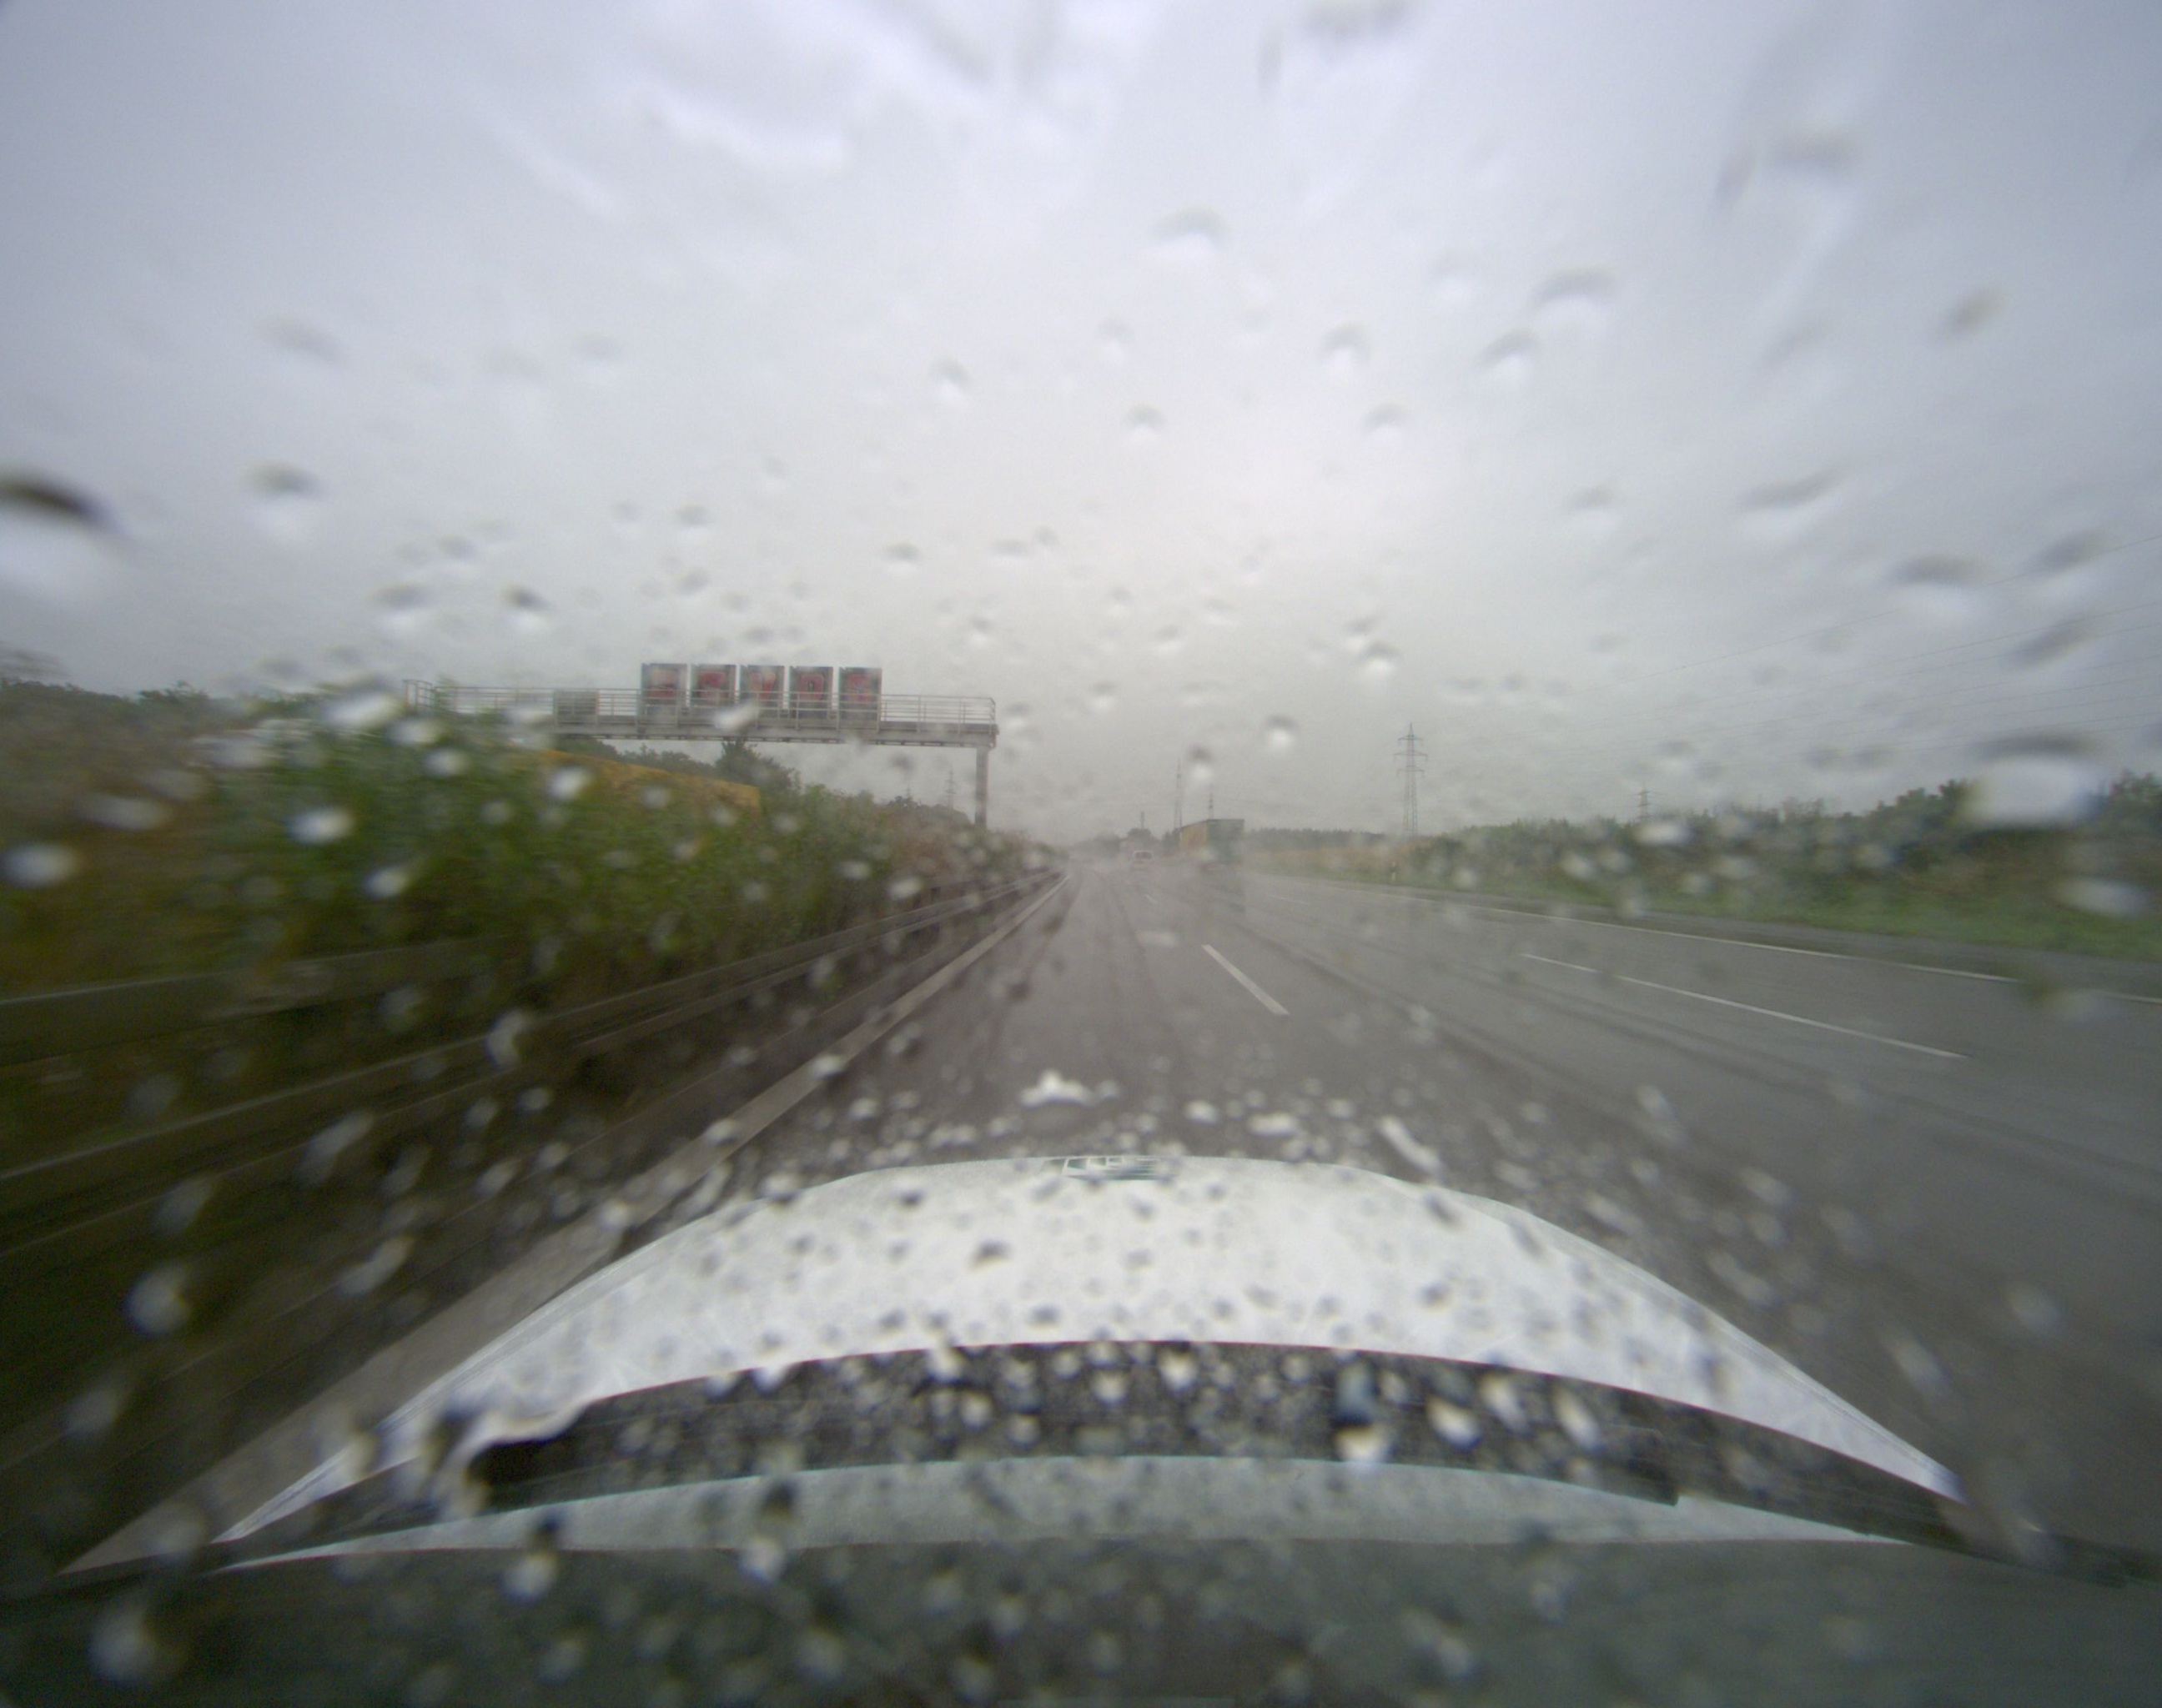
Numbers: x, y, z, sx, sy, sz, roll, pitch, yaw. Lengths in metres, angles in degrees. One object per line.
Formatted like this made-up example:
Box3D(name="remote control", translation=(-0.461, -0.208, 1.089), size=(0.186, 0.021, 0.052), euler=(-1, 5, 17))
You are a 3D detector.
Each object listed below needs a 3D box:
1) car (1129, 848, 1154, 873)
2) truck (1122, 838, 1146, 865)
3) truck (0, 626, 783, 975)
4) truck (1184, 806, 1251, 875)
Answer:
Box3D(name="car", translation=(5.062, 0.496, 67.623), size=(1.984, 2.013, 4.006), euler=(-1, 0, 5))
Box3D(name="truck", translation=(8.450, -0.418, 131.610), size=(3.223, 4.311, 8.834), euler=(-1, 0, -1))
Box3D(name="truck", translation=(-13.933, -0.827, 21.040), size=(4.685, 5.044, 18.246), euler=(-1, 0, 3))
Box3D(name="truck", translation=(10.272, -0.899, 63.310), size=(4.168, 4.630, 16.132), euler=(-1, 0, 6))
